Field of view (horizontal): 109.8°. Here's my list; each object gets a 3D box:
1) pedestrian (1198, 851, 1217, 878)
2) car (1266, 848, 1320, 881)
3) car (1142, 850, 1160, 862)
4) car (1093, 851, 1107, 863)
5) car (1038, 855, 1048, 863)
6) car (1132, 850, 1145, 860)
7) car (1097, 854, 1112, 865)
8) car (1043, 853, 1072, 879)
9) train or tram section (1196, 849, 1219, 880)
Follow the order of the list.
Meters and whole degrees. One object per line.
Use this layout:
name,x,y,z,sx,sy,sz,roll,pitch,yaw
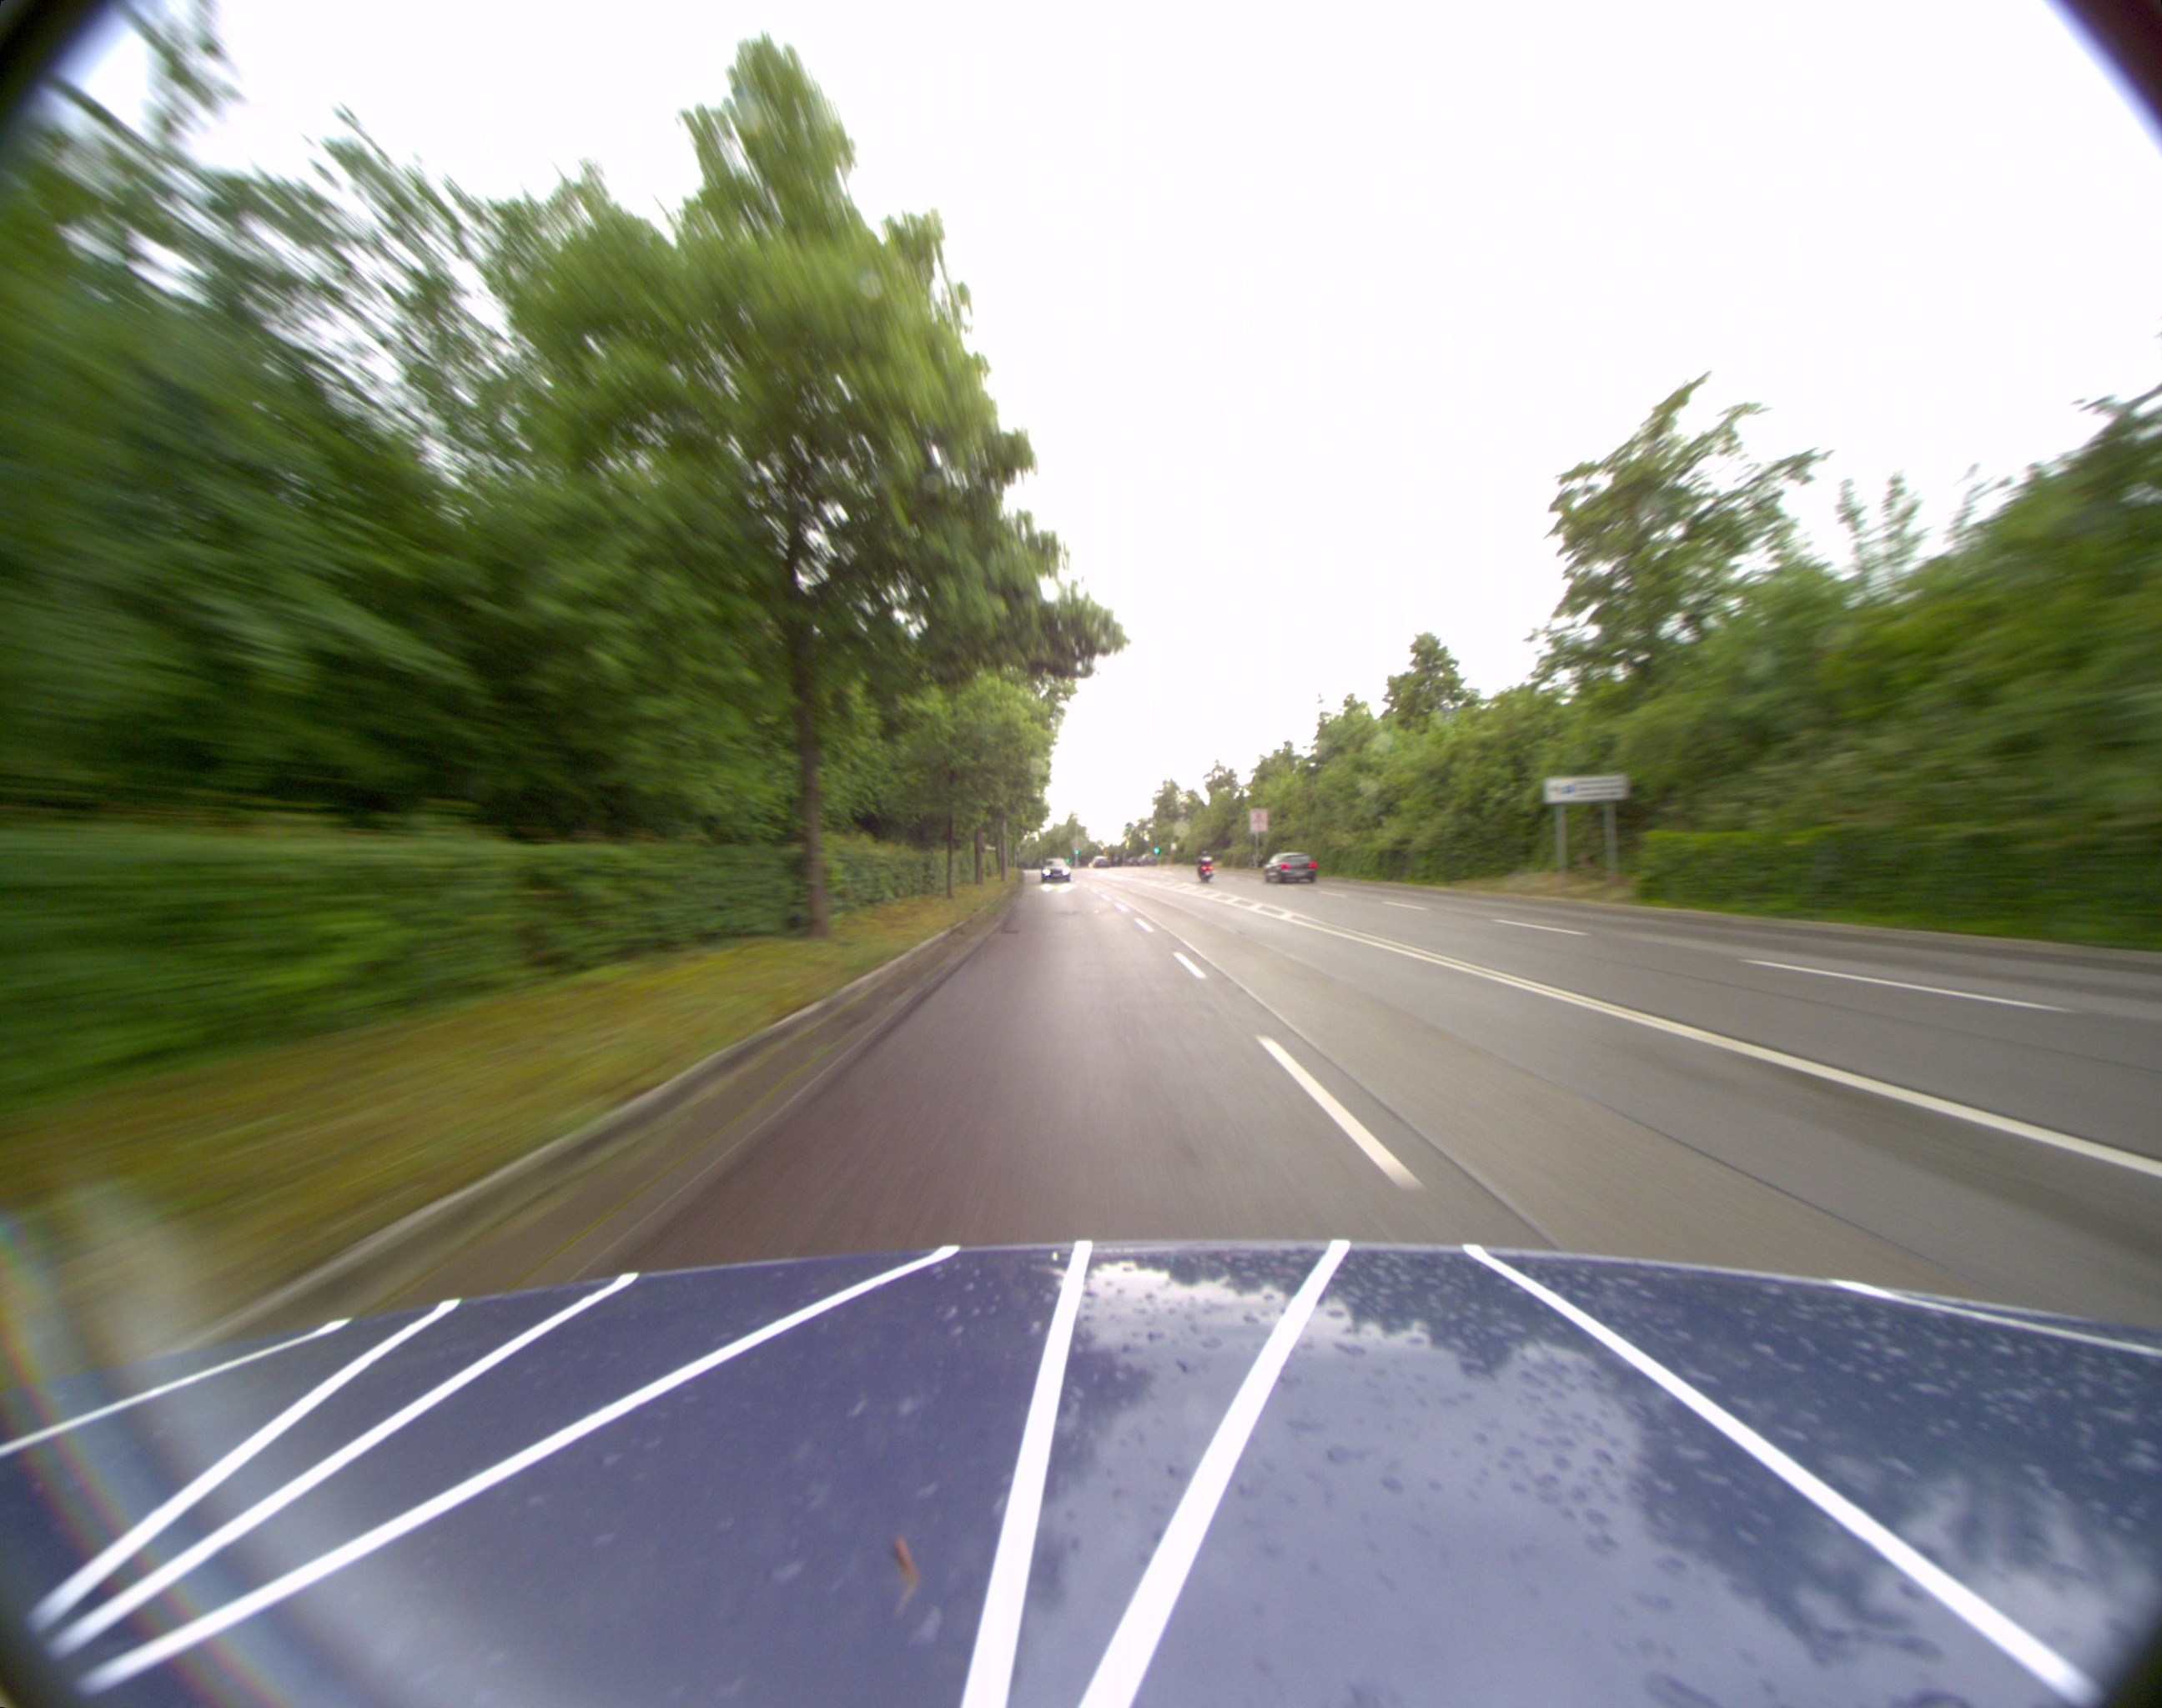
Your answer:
pedestrian,6.708,0.525,40.344,0.793,1.376,0.974,-3,1,0
car,9.942,0.450,35.891,1.552,1.429,3.696,-2,1,1
car,9.435,0.254,102.626,1.805,1.597,4.427,-2,0,-1
car,2.829,0.440,114.966,1.891,1.646,4.449,-2,0,-1
car,-7.668,1.027,152.771,1.738,1.577,4.285,-2,0,-1
car,9.155,0.153,121.443,1.679,1.459,3.861,-2,0,-2
car,3.102,0.730,102.039,1.782,1.459,3.996,-2,0,-1
car,-1.501,0.739,48.768,1.738,1.577,4.285,-2,0,-1
train or tram section,6.703,0.525,40.348,0.793,1.561,2.383,-3,1,0
